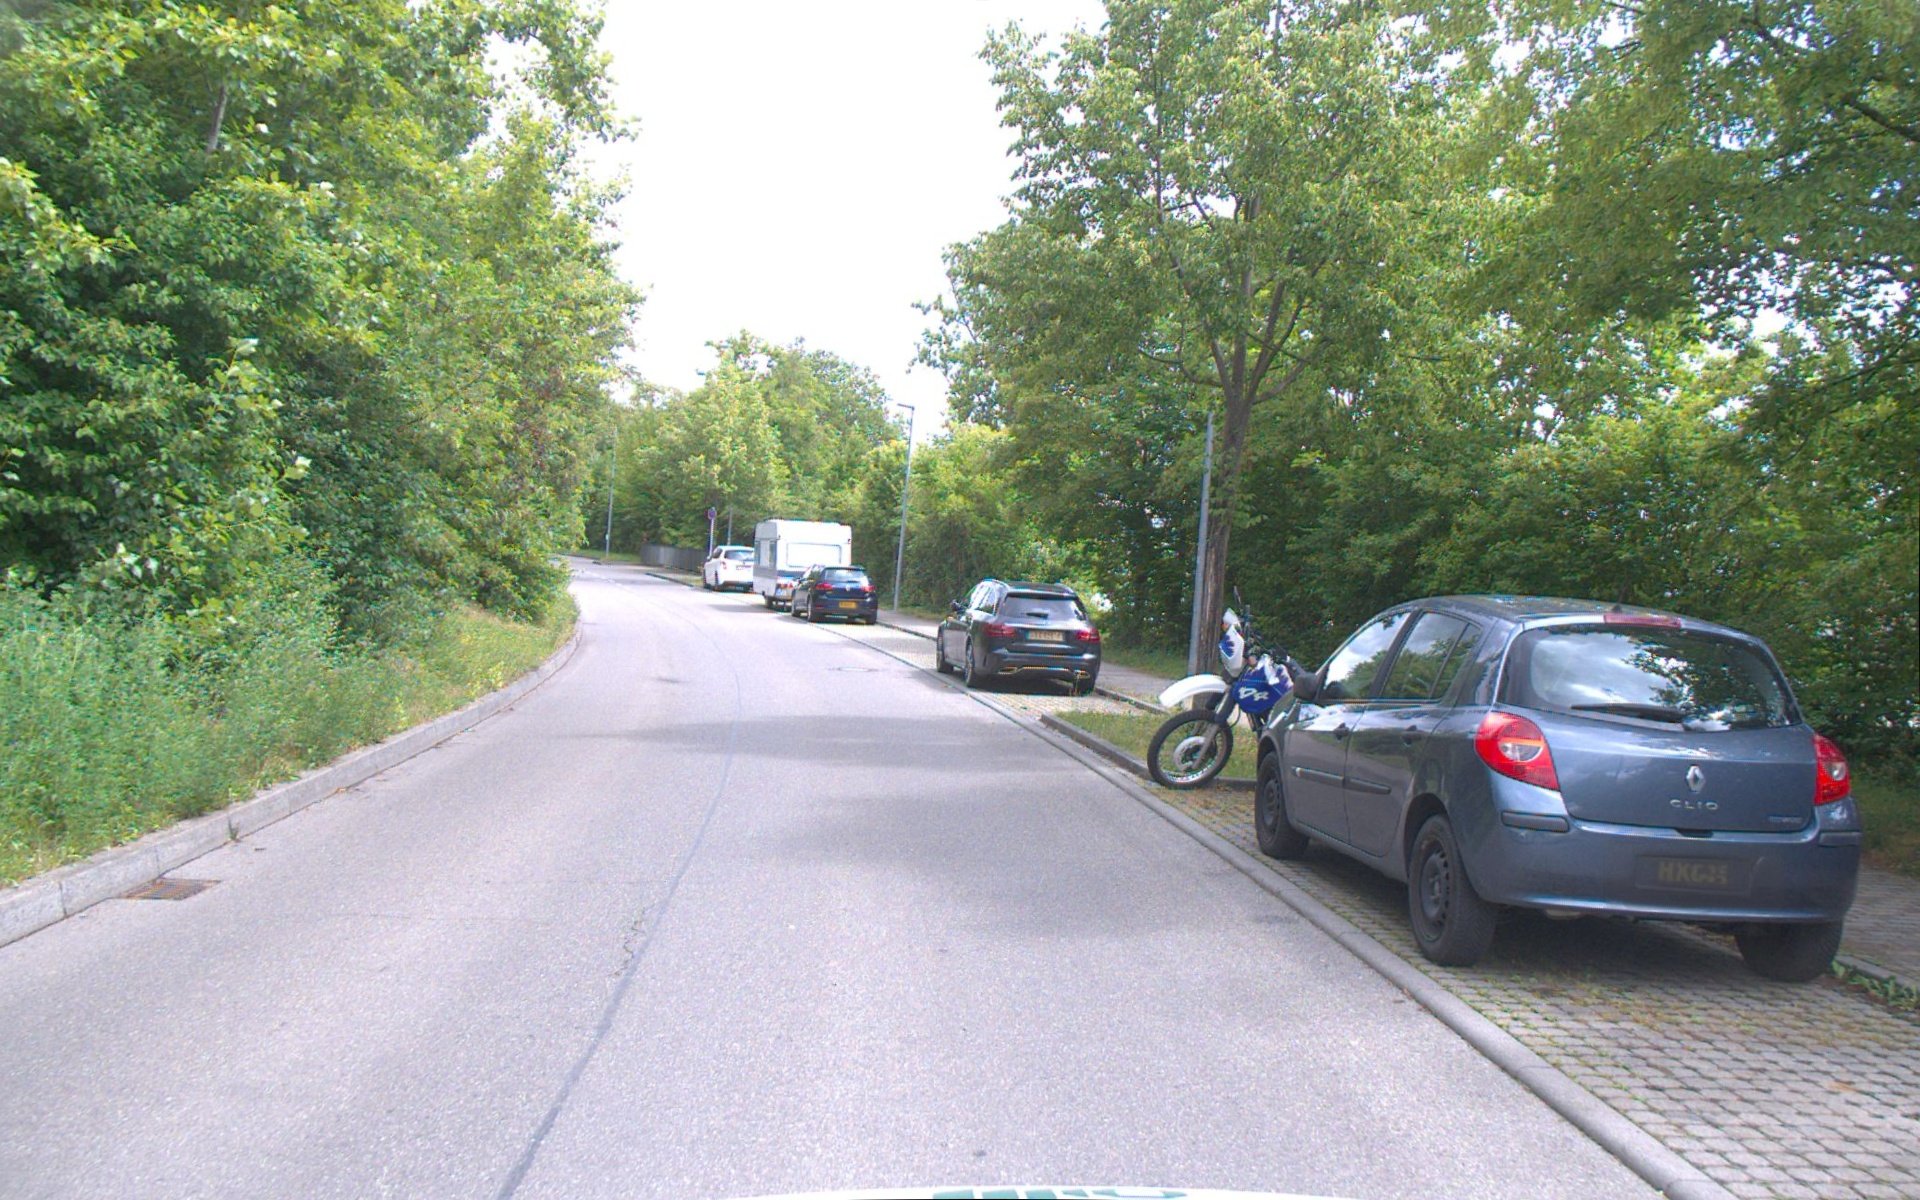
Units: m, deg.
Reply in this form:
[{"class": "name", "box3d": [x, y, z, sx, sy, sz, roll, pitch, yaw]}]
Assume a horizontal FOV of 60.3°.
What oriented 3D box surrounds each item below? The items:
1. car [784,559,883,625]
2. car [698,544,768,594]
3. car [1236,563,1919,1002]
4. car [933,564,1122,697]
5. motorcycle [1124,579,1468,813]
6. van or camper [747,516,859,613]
[{"class": "car", "box3d": [-3.341, -0.244, 42.920, 1.654, 1.476, 4.462, 3, 1, -16]}, {"class": "car", "box3d": [-8.352, -1.155, 60.634, 1.776, 1.627, 4.351, 2, 2, -18]}, {"class": "car", "box3d": [2.689, 0.679, 8.140, 1.734, 1.544, 4.105, 3, 0, -3]}, {"class": "car", "box3d": [0.848, 0.359, 23.808, 1.858, 1.556, 4.539, 3, 2, -8]}, {"class": "motorcycle", "box3d": [2.404, 0.631, 11.806, 2.258, 1.501, 0.975, 2, 0, 21]}, {"class": "van or camper", "box3d": [-4.666, -1.066, 48.413, 2.316, 2.598, 5.054, 2, 2, -16]}]
